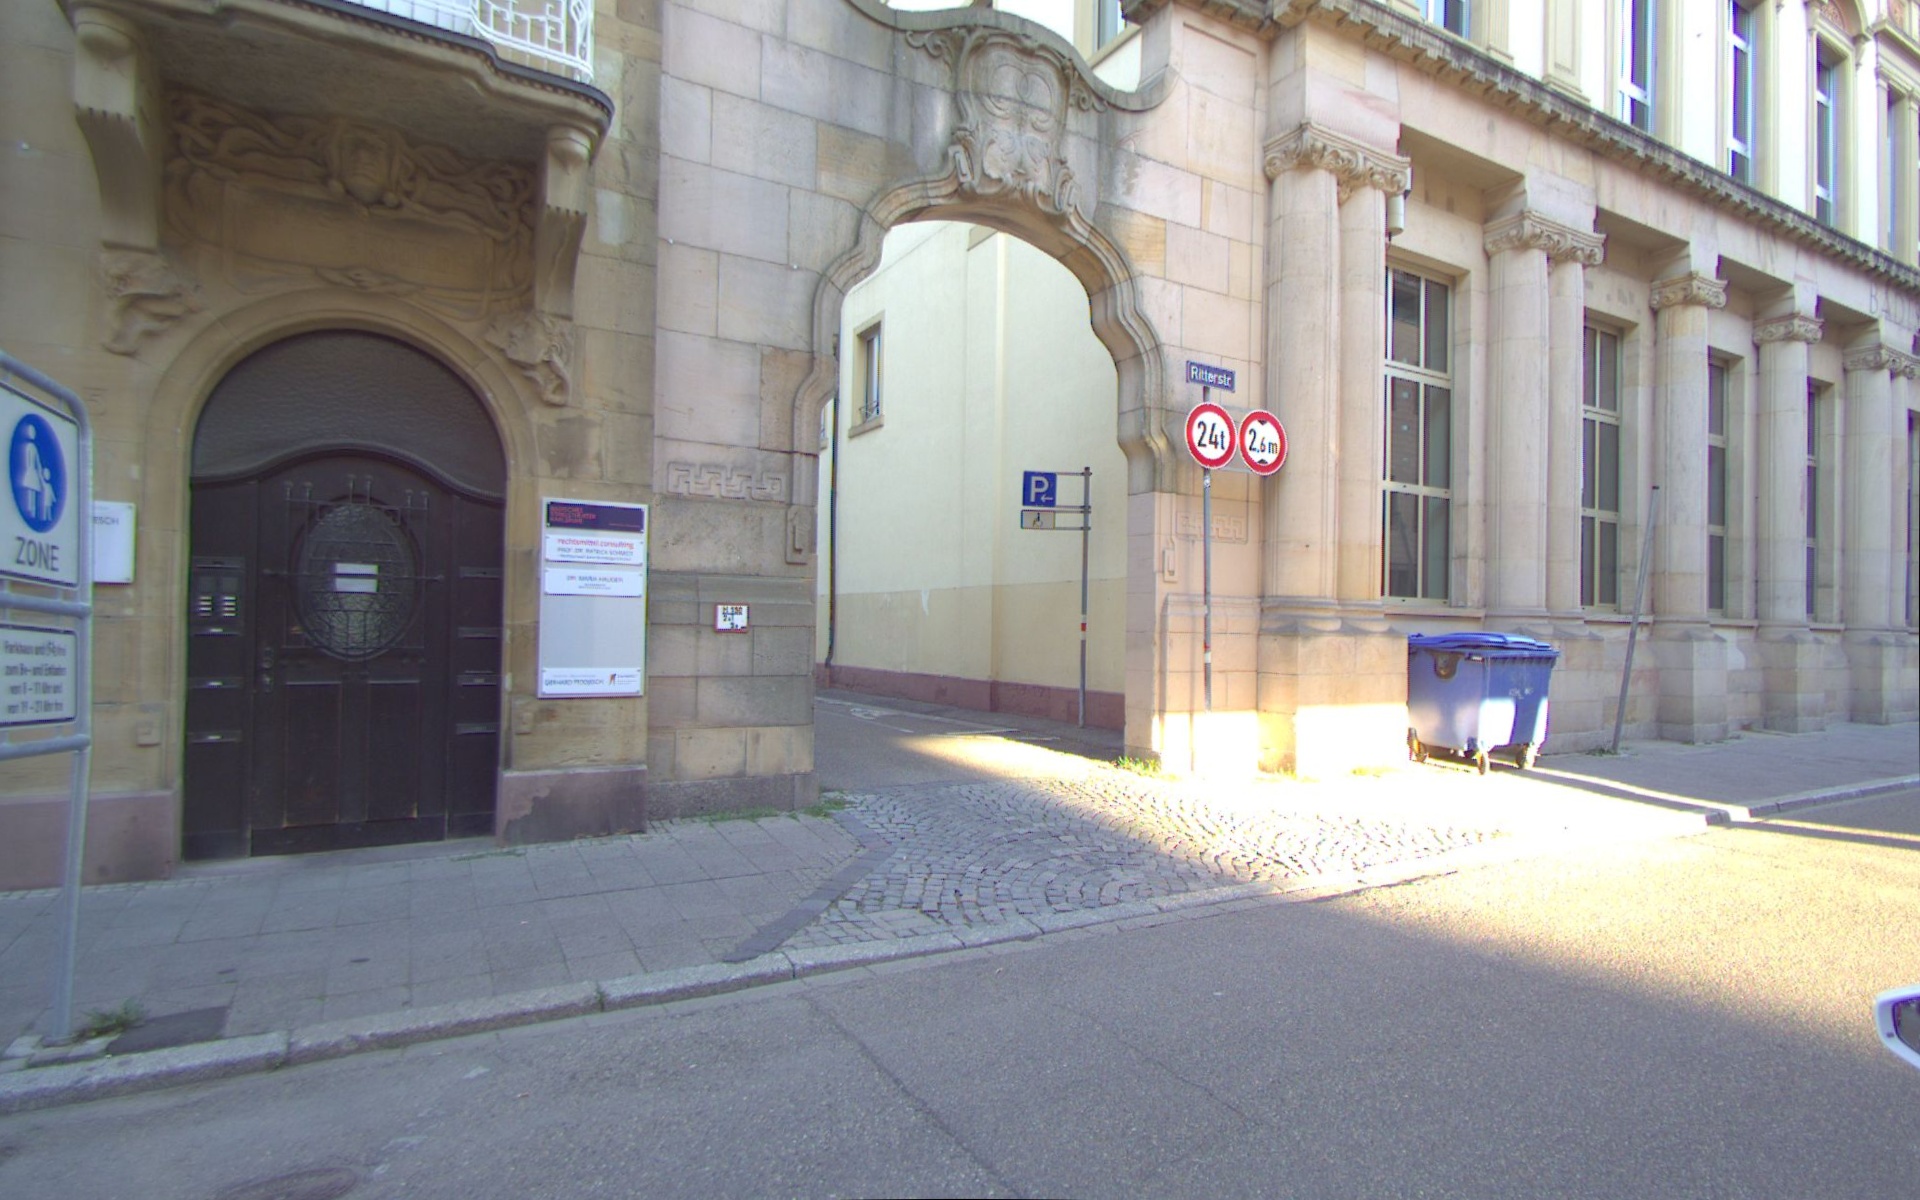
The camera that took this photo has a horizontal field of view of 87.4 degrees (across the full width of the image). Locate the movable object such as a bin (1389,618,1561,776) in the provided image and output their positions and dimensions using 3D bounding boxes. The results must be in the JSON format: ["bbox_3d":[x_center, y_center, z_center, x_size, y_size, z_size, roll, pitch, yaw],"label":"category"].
[{"bbox_3d":[5.290,0.954,10.363,1.171,1.494,1.070,2,0,-26],"label":"movable object such as a bin"}]

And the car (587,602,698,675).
[{"bbox_3d":[-8.869,1.029,27.868,1.842,1.778,4.125,6,-3,-32],"label":"car"}]
